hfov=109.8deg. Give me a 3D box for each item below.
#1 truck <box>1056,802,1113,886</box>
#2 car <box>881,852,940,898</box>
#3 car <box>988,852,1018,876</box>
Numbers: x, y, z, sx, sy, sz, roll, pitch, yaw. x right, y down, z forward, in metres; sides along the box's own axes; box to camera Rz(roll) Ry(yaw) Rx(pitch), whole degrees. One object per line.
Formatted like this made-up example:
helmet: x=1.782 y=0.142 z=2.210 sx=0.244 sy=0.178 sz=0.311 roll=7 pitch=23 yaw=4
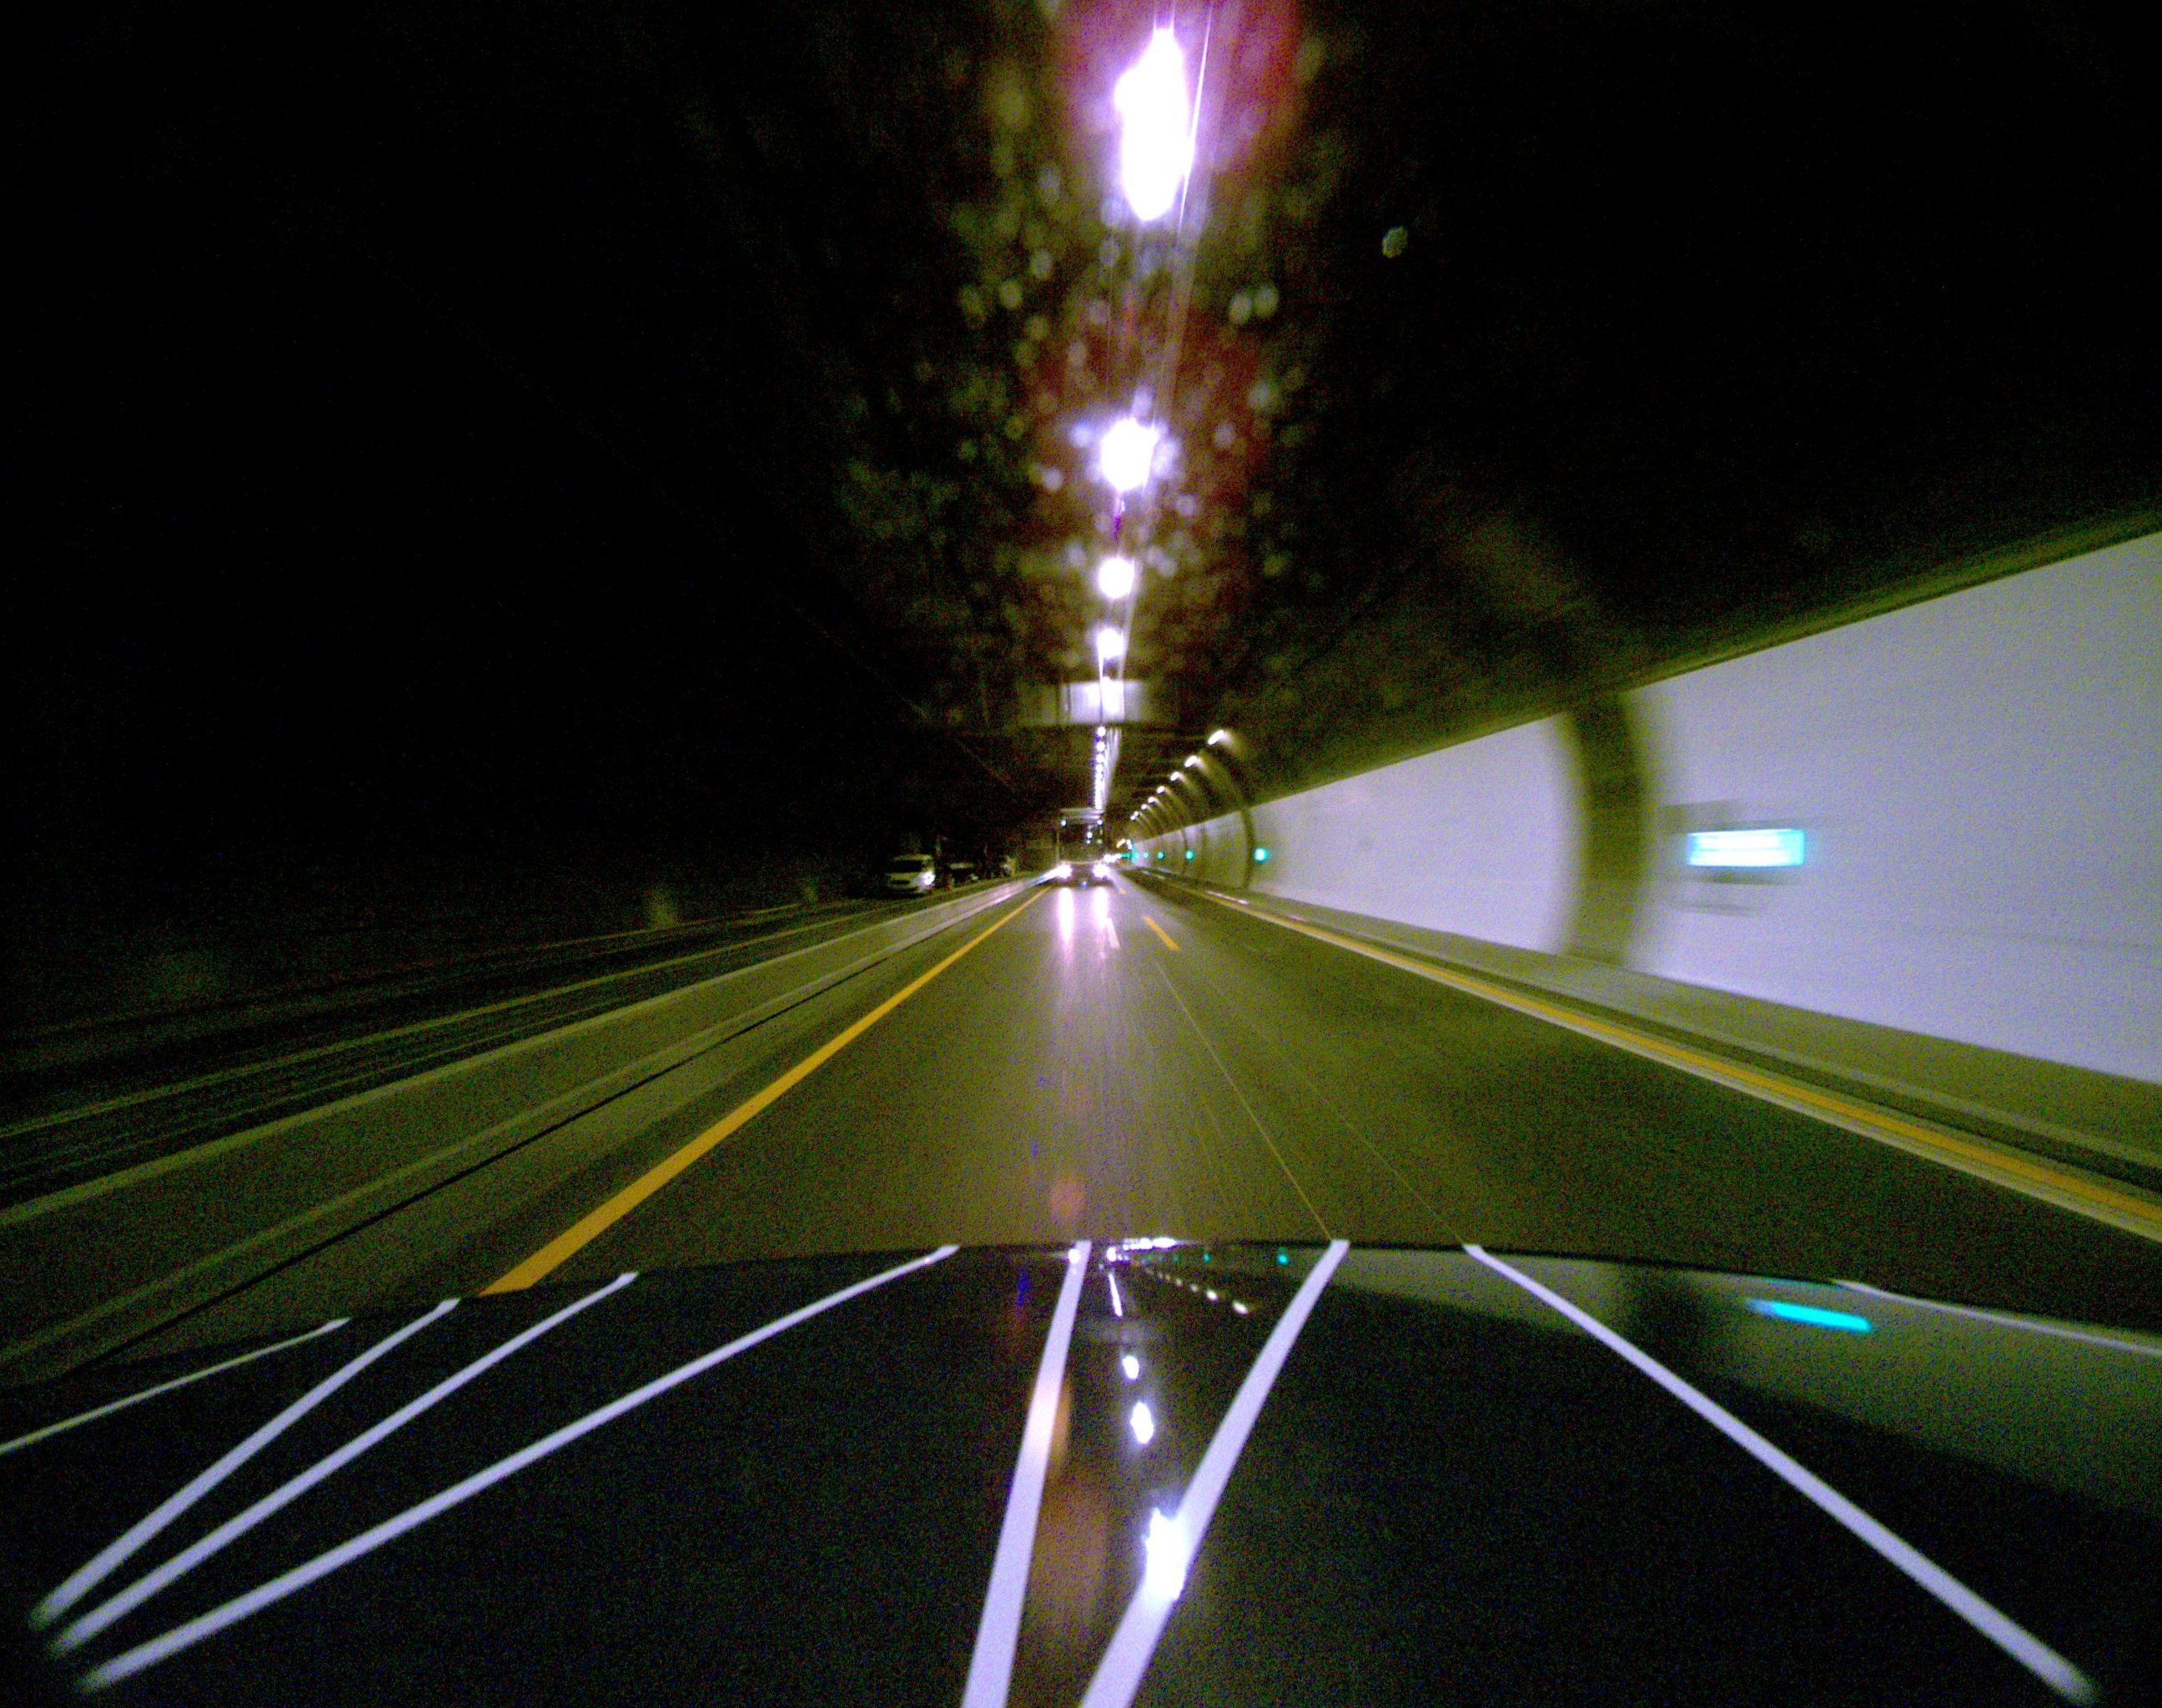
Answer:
truck: x=0.279 y=-0.546 z=42.835 sx=2.769 sy=4.198 sz=7.977 roll=-2 pitch=1 yaw=1
car: x=-7.446 y=0.875 z=33.581 sx=1.756 sy=1.834 sz=4.644 roll=-2 pitch=0 yaw=-3
car: x=-6.496 y=0.786 z=63.613 sx=1.832 sy=1.848 sz=5.441 roll=-3 pitch=0 yaw=0
